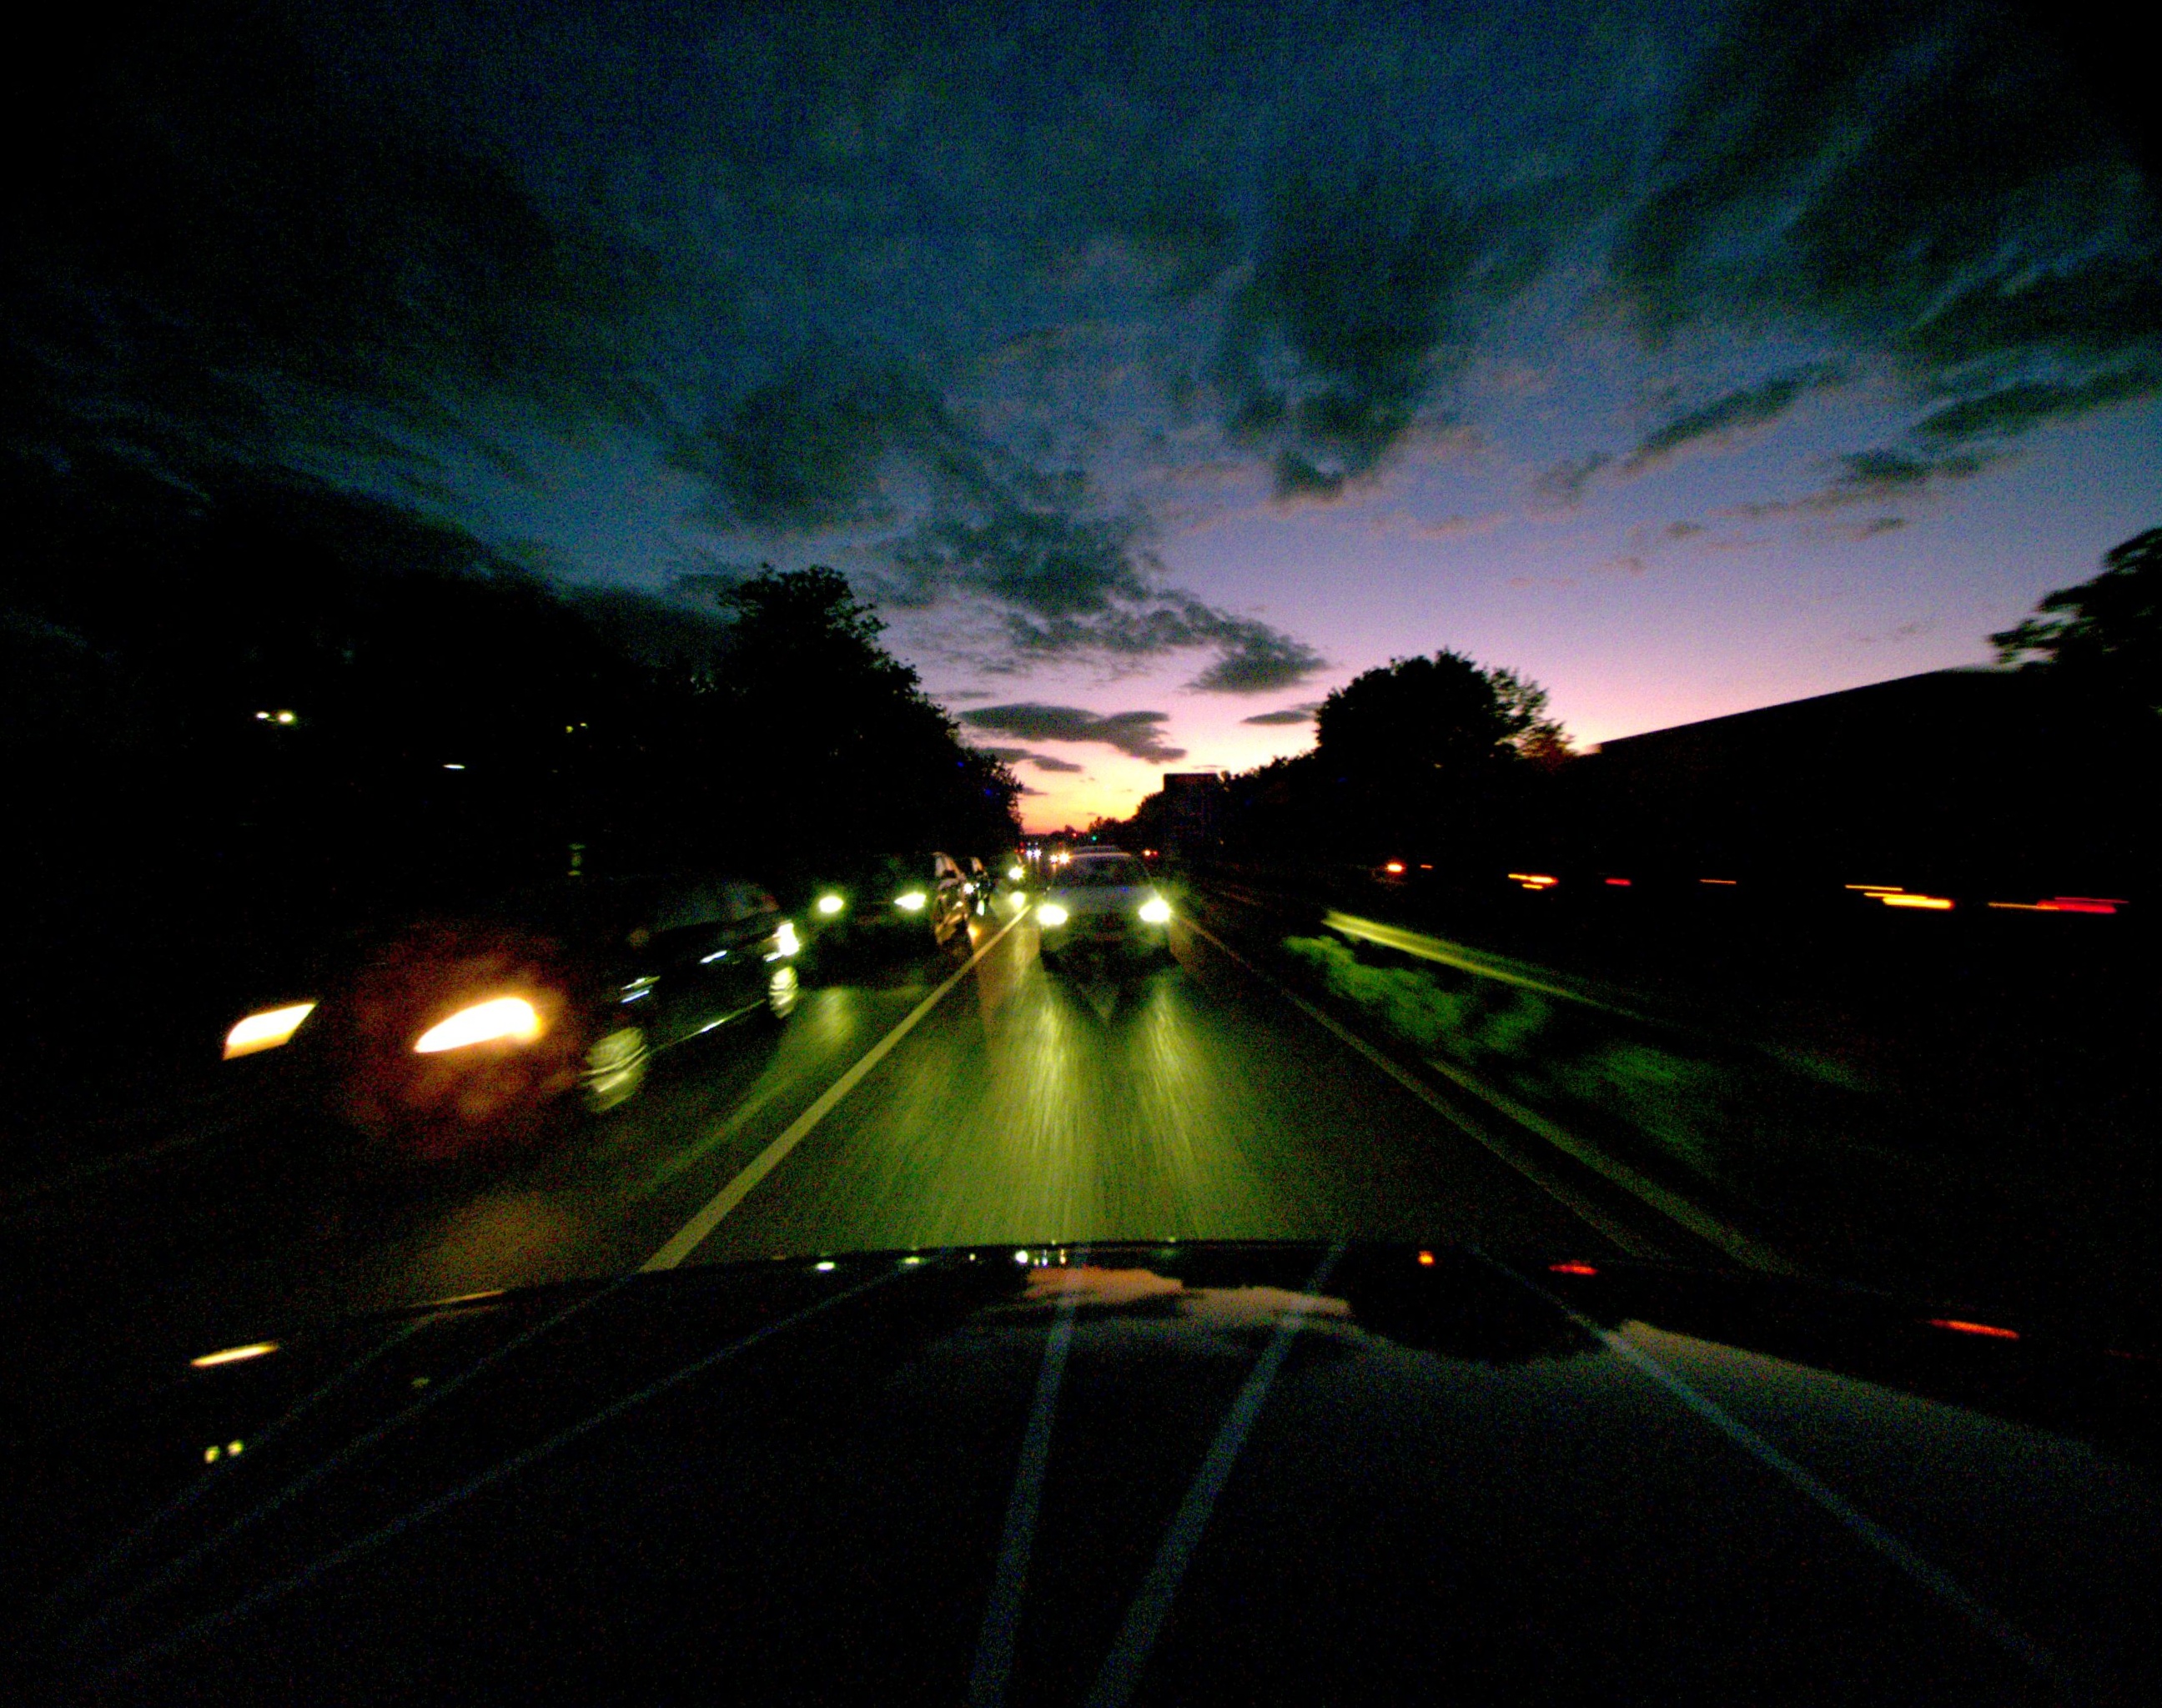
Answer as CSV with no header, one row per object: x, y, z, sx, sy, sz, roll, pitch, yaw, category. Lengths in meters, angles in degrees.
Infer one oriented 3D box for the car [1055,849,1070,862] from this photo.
-2.143,0.159,87.377,1.606,1.291,3.551,-3,1,-2,car

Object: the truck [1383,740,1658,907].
13.028,-0.834,24.114,2.732,4.094,10.344,-1,1,0,truck

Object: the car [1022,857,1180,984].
0.288,0.814,11.506,1.819,1.428,4.646,-4,0,1,car

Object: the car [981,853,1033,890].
-3.135,0.692,32.910,1.819,1.360,3.999,-3,1,0,car

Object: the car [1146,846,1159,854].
12.571,-0.727,133.133,1.633,1.496,4.589,0,1,-3,car

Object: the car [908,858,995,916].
-3.449,0.835,20.808,1.621,1.405,3.755,-2,0,1,car

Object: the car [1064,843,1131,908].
0.492,0.580,22.772,1.760,1.692,4.249,-2,0,1,car

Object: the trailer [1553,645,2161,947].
12.858,-0.791,14.343,2.583,3.920,8.877,0,1,2,trailer

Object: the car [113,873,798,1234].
-3.583,0.974,5.366,1.663,1.528,3.715,-2,0,1,car

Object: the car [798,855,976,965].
-3.231,0.848,13.628,1.902,1.547,4.301,-3,0,1,car

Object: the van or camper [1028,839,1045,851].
-11.892,-2.360,203.828,3.949,3.107,9.941,0,0,0,van or camper
